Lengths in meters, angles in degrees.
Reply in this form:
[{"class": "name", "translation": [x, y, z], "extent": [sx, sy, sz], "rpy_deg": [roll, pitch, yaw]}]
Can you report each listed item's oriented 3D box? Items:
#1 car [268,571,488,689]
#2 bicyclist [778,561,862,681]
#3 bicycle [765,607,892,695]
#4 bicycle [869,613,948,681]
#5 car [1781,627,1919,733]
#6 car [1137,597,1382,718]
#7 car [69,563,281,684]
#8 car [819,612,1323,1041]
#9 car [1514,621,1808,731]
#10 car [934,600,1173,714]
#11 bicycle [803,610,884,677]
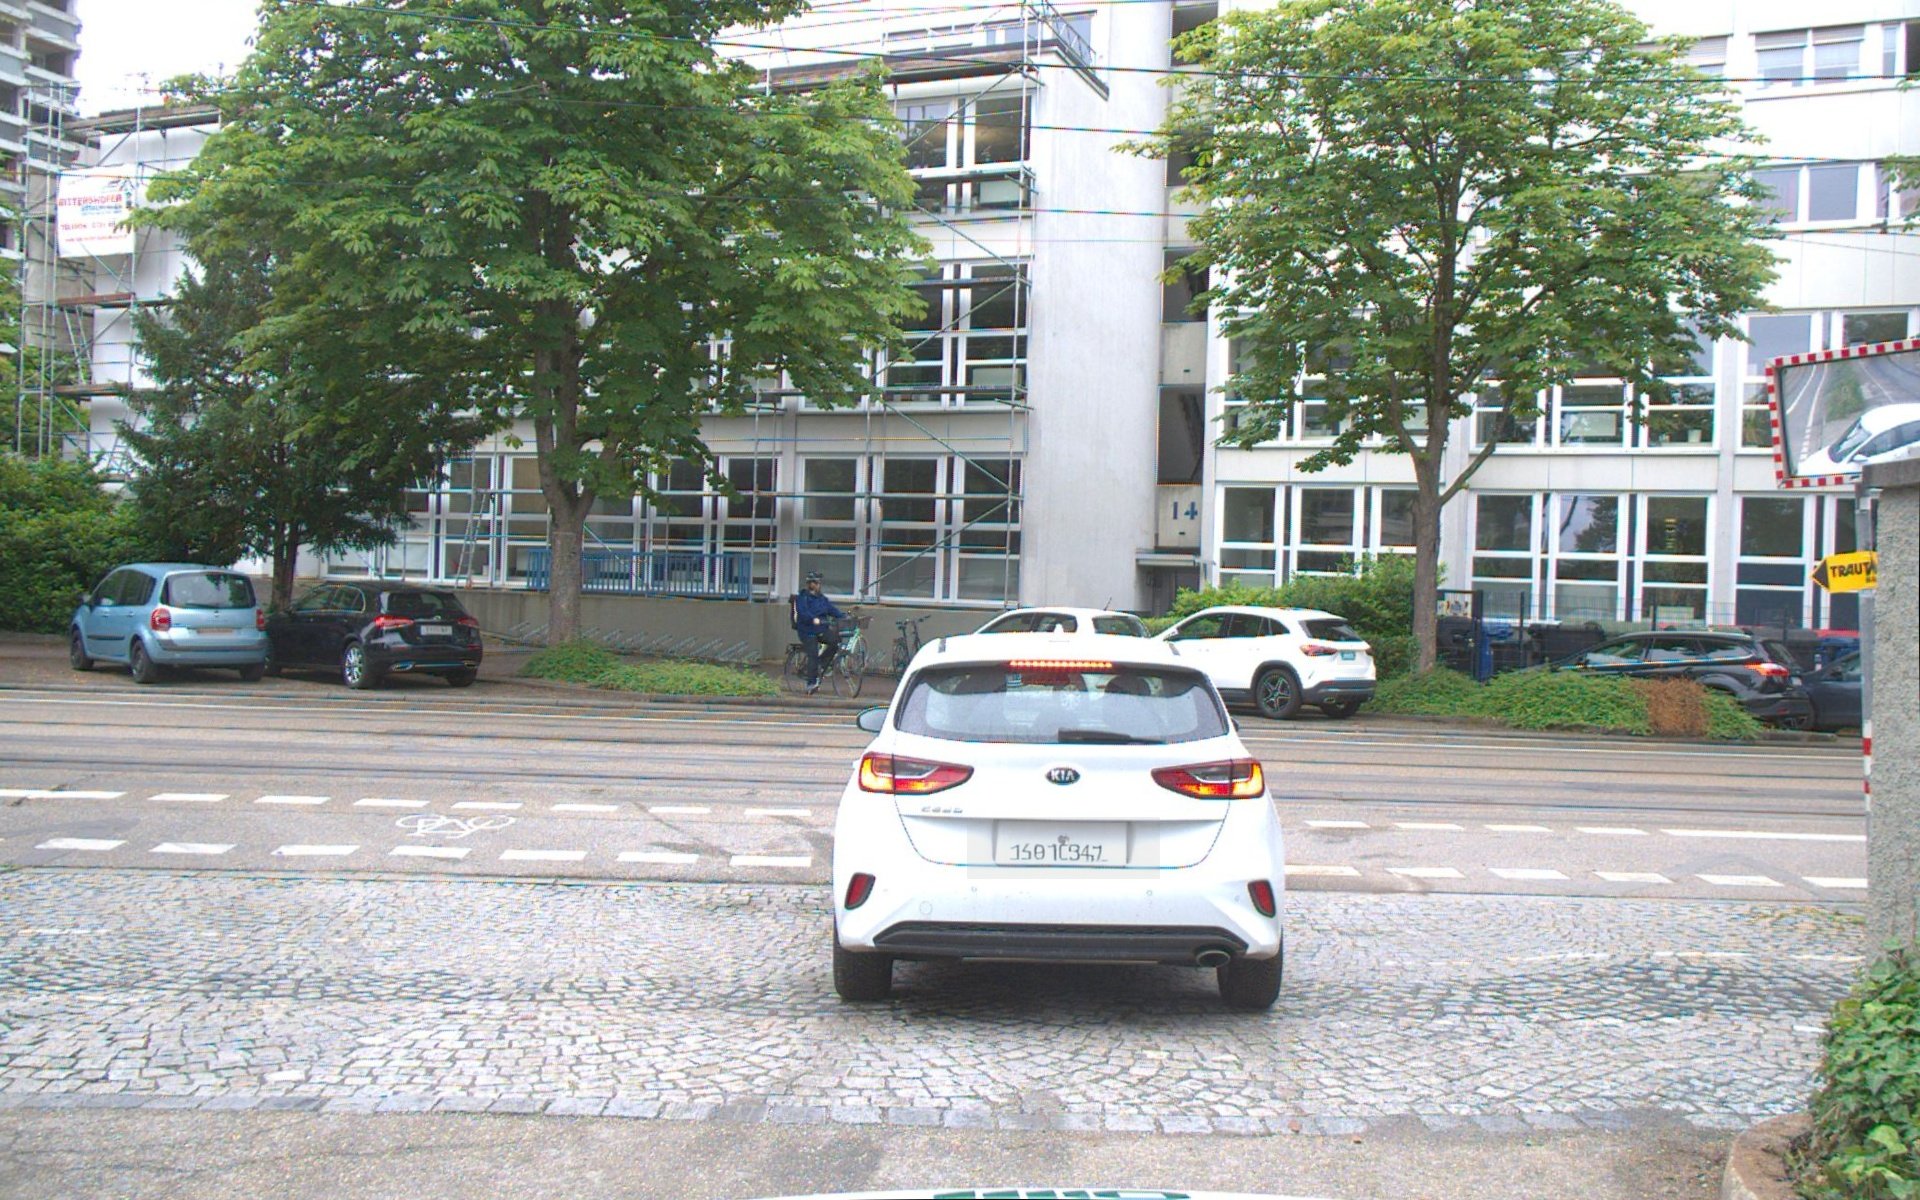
[{"class": "car", "translation": [-8.293, 0.389, 23.482], "extent": [3.279, 1.537, 1.608], "rpy_deg": [1, 0, 43]}, {"class": "bicyclist", "translation": [-2.070, 0.308, 24.502], "extent": [0.882, 1.727, 0.828], "rpy_deg": [2, 0, 45]}, {"class": "bicycle", "translation": [-1.948, 0.736, 24.355], "extent": [1.883, 1.194, 0.816], "rpy_deg": [2, 0, 44]}, {"class": "bicycle", "translation": [-0.923, 0.837, 30.217], "extent": [0.631, 1.093, 2.313], "rpy_deg": [2, 2, 19]}, {"class": "car", "translation": [14.365, 1.203, 24.917], "extent": [3.332, 1.499, 1.407], "rpy_deg": [1, 0, 44]}, {"class": "car", "translation": [4.440, 0.807, 24.823], "extent": [1.545, 1.646, 3.353], "rpy_deg": [1, 0, -44]}, {"class": "car", "translation": [-11.119, 0.299, 23.354], "extent": [3.279, 1.564, 1.608], "rpy_deg": [2, 0, 43]}, {"class": "car", "translation": [0.475, 0.865, 7.776], "extent": [1.738, 1.458, 3.979], "rpy_deg": [1, -2, 2]}, {"class": "car", "translation": [10.793, 1.116, 25.591], "extent": [3.881, 1.499, 1.665], "rpy_deg": [1, 0, 40]}, {"class": "car", "translation": [1.324, 0.788, 24.284], "extent": [1.545, 1.499, 3.353], "rpy_deg": [1, 0, -44]}, {"class": "bicycle", "translation": [-2.134, 0.789, 30.666], "extent": [0.631, 1.093, 2.313], "rpy_deg": [2, 2, 19]}]
